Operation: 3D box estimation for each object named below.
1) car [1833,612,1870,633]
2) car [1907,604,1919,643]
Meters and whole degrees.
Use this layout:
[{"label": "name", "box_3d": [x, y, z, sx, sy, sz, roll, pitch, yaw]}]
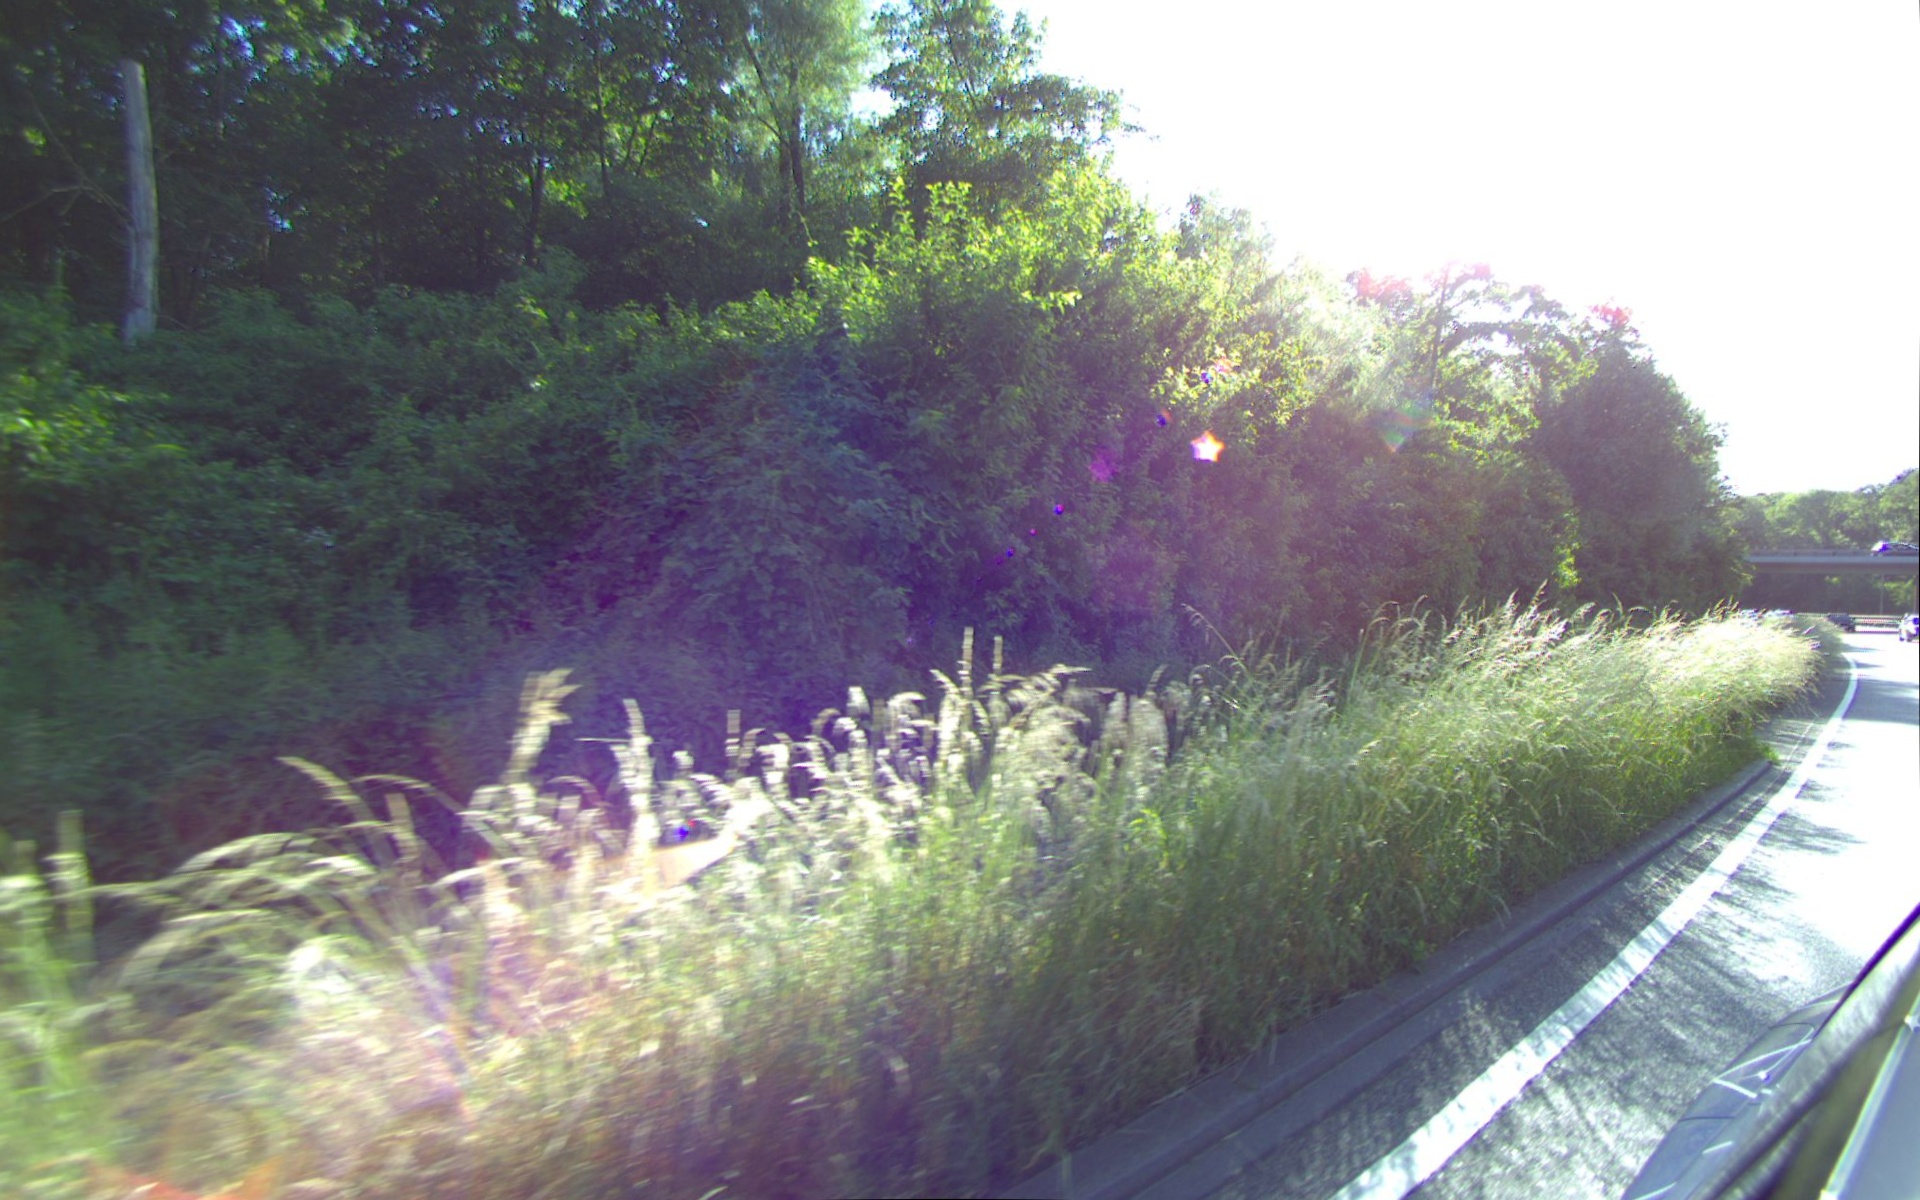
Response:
[{"label": "car", "box_3d": [74.018, 1.858, 84.064, 1.925, 1.526, 5.018, 1, 1, 37]}, {"label": "car", "box_3d": [54.850, 1.334, 56.833, 2.249, 1.876, 5.067, 1, 3, 41]}]
